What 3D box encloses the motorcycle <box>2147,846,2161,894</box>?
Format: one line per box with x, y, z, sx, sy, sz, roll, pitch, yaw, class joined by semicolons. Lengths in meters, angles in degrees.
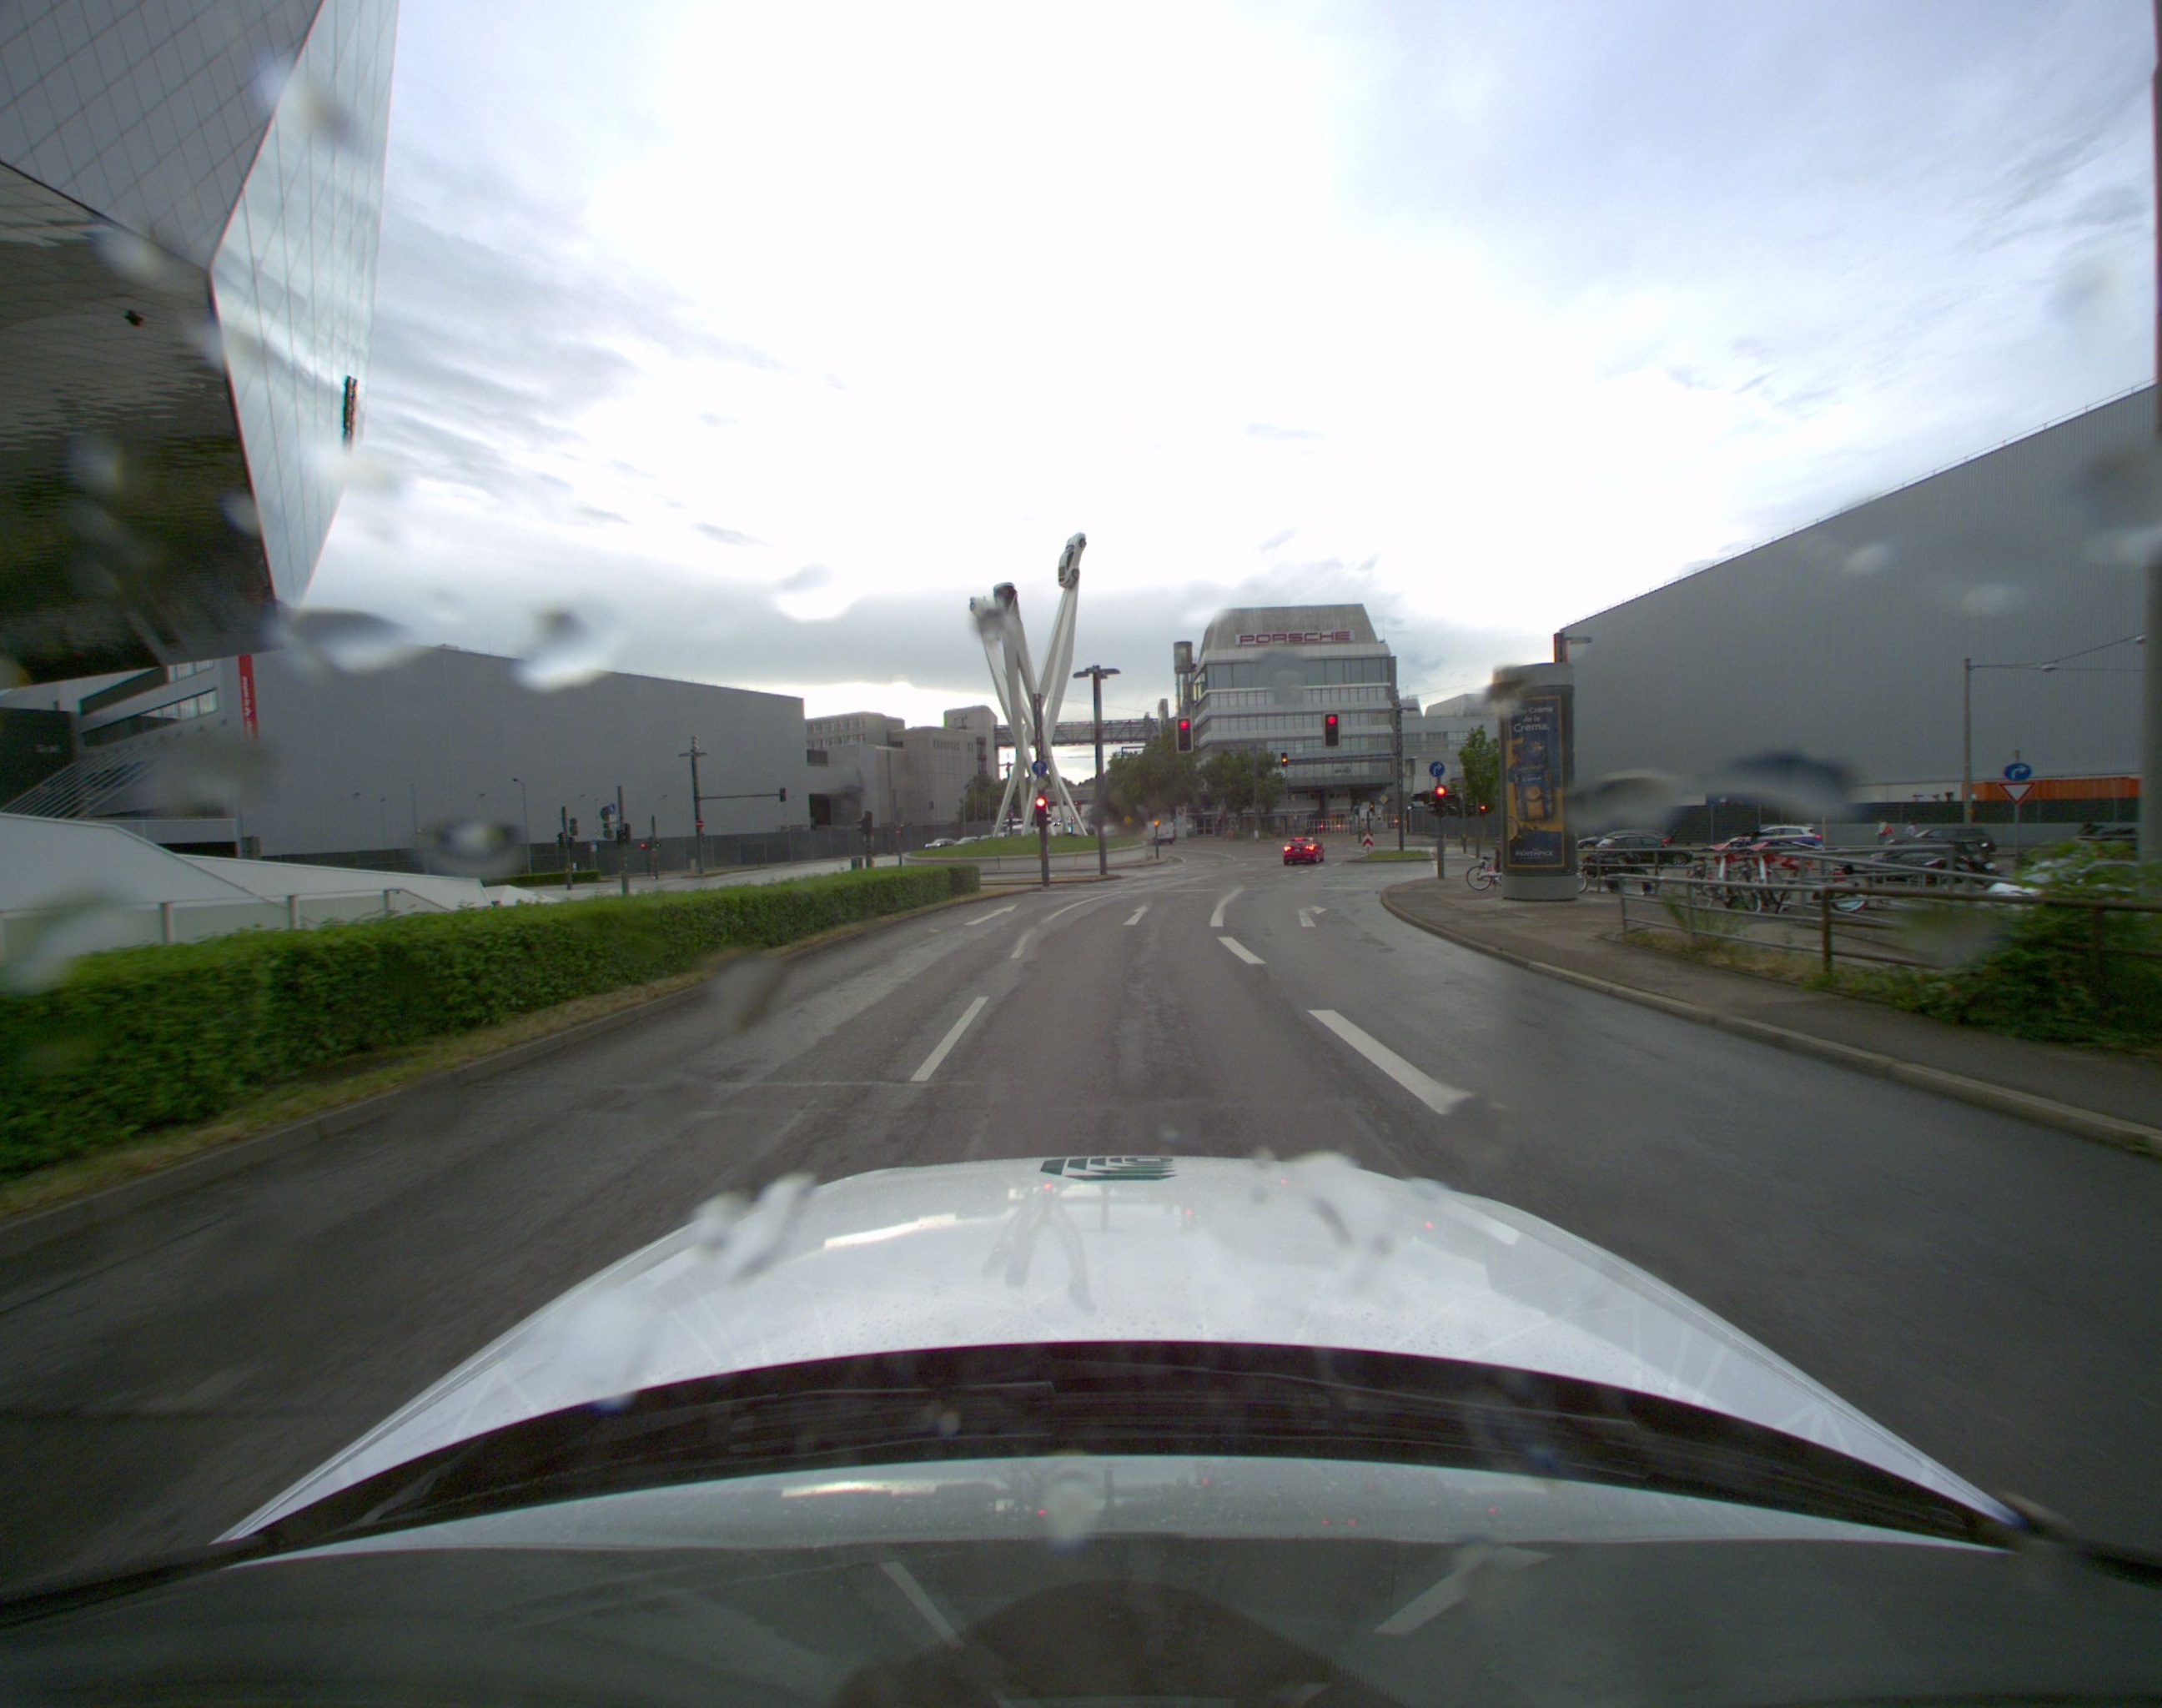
28.900;0.389;20.759;1.997;1.190;0.613;-3;3;43;motorcycle

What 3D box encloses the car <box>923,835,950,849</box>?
-16.183;-1.345;91.355;1.825;1.472;4.518;-2;1;3;car

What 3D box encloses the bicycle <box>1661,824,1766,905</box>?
10.538;0.156;13.552;1.937;1.224;0.594;-3;0;-27;bicycle

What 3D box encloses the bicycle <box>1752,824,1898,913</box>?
10.918;0.196;11.957;1.929;1.178;0.596;-3;0;-15;bicycle

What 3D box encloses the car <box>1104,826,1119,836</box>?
4.252;-3.167;113.672;1.663;1.301;3.883;-2;0;-2;car

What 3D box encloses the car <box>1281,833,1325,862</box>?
12.000;-0.358;43.883;1.757;1.464;3.753;-2;0;23;car

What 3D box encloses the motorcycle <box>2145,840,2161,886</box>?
29.892;0.201;21.556;1.997;1.190;0.613;-3;3;43;motorcycle

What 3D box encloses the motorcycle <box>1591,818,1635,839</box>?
34.846;-1.656;53.400;2.330;1.344;0.657;0;2;42;motorcycle

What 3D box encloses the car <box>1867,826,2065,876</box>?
29.504;-0.130;27.332;1.837;1.530;4.136;-1;1;-21;car

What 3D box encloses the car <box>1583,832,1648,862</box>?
24.497;-0.324;37.468;1.597;1.291;3.583;-2;0;18;car

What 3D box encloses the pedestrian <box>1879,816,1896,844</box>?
44.146;-1.302;44.586;0.426;1.480;0.606;-3;1;-41;pedestrian

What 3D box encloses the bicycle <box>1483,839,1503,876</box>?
13.071;0.101;25.814;0.381;1.119;1.762;-2;1;32;bicycle

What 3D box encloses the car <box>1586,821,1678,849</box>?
32.250;-1.113;47.734;4.245;1.539;1.768;1;4;43;car

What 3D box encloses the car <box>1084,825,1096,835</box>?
1.311;-3.377;116.317;1.552;1.288;3.414;-2;0;1;car

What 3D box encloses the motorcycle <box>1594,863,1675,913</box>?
12.535;0.739;18.496;0.694;0.990;1.752;-2;1;3;motorcycle

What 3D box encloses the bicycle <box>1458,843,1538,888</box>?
11.186;0.314;21.873;1.759;1.140;0.680;-2;0;8;bicycle

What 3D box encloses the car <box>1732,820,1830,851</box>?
37.570;-1.004;43.758;3.932;1.601;1.923;1;3;43;car

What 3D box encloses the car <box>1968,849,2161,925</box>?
23.143;0.736;18.629;3.525;1.481;1.700;-2;3;13;car

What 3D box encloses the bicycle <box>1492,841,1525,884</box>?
12.108;0.213;23.111;0.382;1.161;2.009;-2;0;16;bicycle

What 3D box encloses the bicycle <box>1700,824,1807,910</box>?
10.598;0.185;12.815;1.938;1.224;0.594;-3;0;-29;bicycle

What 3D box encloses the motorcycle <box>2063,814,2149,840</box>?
50.474;-1.314;40.164;2.462;1.186;1.006;-1;1;38;motorcycle

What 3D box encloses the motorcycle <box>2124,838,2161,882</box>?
30.595;0.155;22.553;0.613;1.190;1.997;-6;3;-45;motorcycle

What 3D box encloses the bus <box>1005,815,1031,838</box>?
-9.748;-4.232;127.227;2.659;3.200;12.672;-2;1;1;bus

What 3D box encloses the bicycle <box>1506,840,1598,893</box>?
11.160;0.288;19.329;1.792;1.161;0.593;-3;0;4;bicycle

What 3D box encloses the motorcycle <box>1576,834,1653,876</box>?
19.246;0.036;29.442;2.208;1.452;0.761;-1;1;24;motorcycle

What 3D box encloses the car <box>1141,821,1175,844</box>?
7.972;-2.217;84.504;2.233;2.107;4.936;-2;0;-11;car

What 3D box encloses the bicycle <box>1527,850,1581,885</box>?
13.059;0.353;22.548;0.687;0.905;2.182;-1;0;13;bicycle

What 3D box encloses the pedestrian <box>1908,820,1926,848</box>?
44.591;-1.074;43.427;0.441;1.480;0.642;-3;1;-43;pedestrian

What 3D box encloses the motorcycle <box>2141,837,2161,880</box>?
31.640;0.123;22.965;0.610;1.190;2.008;-5;2;-22;motorcycle

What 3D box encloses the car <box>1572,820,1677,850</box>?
29.711;-1.058;44.613;4.527;1.539;1.768;1;4;43;car

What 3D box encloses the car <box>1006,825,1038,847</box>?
-6.877;-2.172;95.736;1.978;2.447;5.450;-2;1;16;car

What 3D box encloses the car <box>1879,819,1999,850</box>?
41.869;-0.969;39.882;3.950;1.392;1.768;1;4;43;car

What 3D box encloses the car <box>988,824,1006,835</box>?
-11.798;-3.426;114.479;1.825;1.472;4.518;-2;1;3;car
